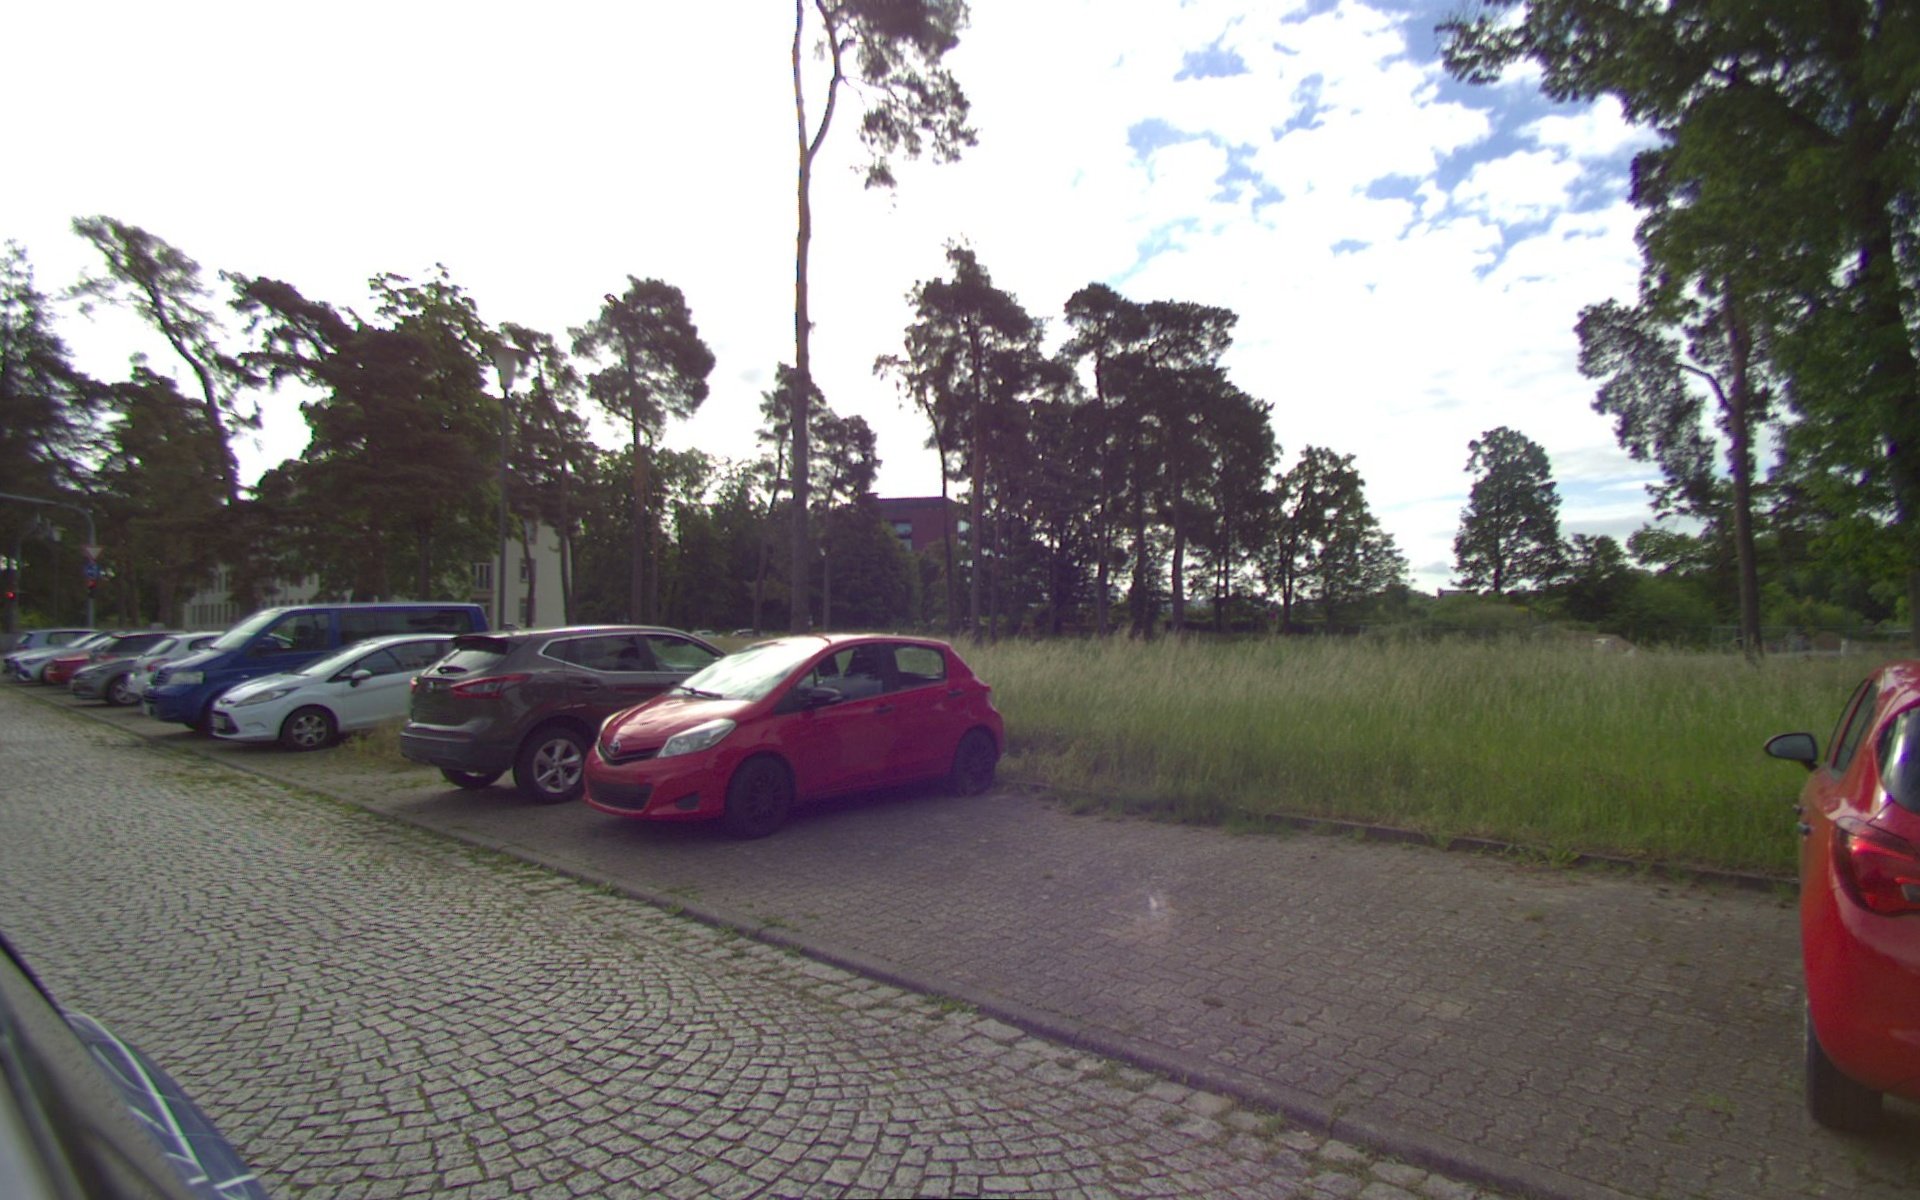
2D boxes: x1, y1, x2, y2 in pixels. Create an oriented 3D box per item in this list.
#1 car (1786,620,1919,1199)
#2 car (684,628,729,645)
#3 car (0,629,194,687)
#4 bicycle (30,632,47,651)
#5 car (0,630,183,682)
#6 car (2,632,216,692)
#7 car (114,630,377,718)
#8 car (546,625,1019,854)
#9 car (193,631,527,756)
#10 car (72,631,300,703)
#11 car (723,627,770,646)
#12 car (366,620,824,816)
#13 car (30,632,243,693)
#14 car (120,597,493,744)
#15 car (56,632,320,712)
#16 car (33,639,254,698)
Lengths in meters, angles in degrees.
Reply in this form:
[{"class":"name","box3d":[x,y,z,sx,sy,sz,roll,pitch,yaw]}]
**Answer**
[{"class":"car","box3d":[4.197,0.821,3.659,1.786,1.501,3.777,-2,-2,40]},{"class":"car","box3d":[-24.956,3.578,99.782,1.718,1.622,3.998,0,-1,45]},{"class":"car","box3d":[-25.961,1.662,30.344,1.868,1.549,4.458,-1,-1,38]},{"class":"bicycle","box3d":[-53.279,2.402,58.483,1.415,1.082,0.491,-1,1,39]},{"class":"car","box3d":[-27.699,1.733,32.346,1.827,1.481,4.282,-1,-1,42]},{"class":"car","box3d":[-23.930,1.682,28.587,1.949,1.466,4.389,-1,-1,42]},{"class":"car","box3d":[-14.017,1.378,20.001,1.842,1.513,3.961,-2,-2,43]},{"class":"car","box3d":[-1.344,0.985,8.750,1.760,1.497,3.776,-2,-2,41]},{"class":"car","box3d":[-8.421,1.215,14.463,1.724,1.505,3.756,-2,-2,39]},{"class":"car","box3d":[-18.205,1.516,23.940,1.755,1.492,4.044,-2,-2,42]},{"class":"car","box3d":[-19.873,3.391,94.348,1.717,1.622,4.000,0,-1,43]},{"class":"car","box3d":[-3.563,1.016,10.445,1.953,1.587,4.026,-2,-2,40]},{"class":"car","box3d":[-22.050,1.620,27.231,1.854,1.466,4.209,-2,-2,41]},{"class":"car","box3d":[-10.274,1.014,16.244,2.037,1.995,4.661,-2,-2,40]},{"class":"car","box3d":[-16.382,1.454,21.645,1.731,1.492,4.257,-2,-2,43]},{"class":"car","box3d":[-20.435,1.659,25.456,1.763,1.293,4.088,-2,-2,41]}]
